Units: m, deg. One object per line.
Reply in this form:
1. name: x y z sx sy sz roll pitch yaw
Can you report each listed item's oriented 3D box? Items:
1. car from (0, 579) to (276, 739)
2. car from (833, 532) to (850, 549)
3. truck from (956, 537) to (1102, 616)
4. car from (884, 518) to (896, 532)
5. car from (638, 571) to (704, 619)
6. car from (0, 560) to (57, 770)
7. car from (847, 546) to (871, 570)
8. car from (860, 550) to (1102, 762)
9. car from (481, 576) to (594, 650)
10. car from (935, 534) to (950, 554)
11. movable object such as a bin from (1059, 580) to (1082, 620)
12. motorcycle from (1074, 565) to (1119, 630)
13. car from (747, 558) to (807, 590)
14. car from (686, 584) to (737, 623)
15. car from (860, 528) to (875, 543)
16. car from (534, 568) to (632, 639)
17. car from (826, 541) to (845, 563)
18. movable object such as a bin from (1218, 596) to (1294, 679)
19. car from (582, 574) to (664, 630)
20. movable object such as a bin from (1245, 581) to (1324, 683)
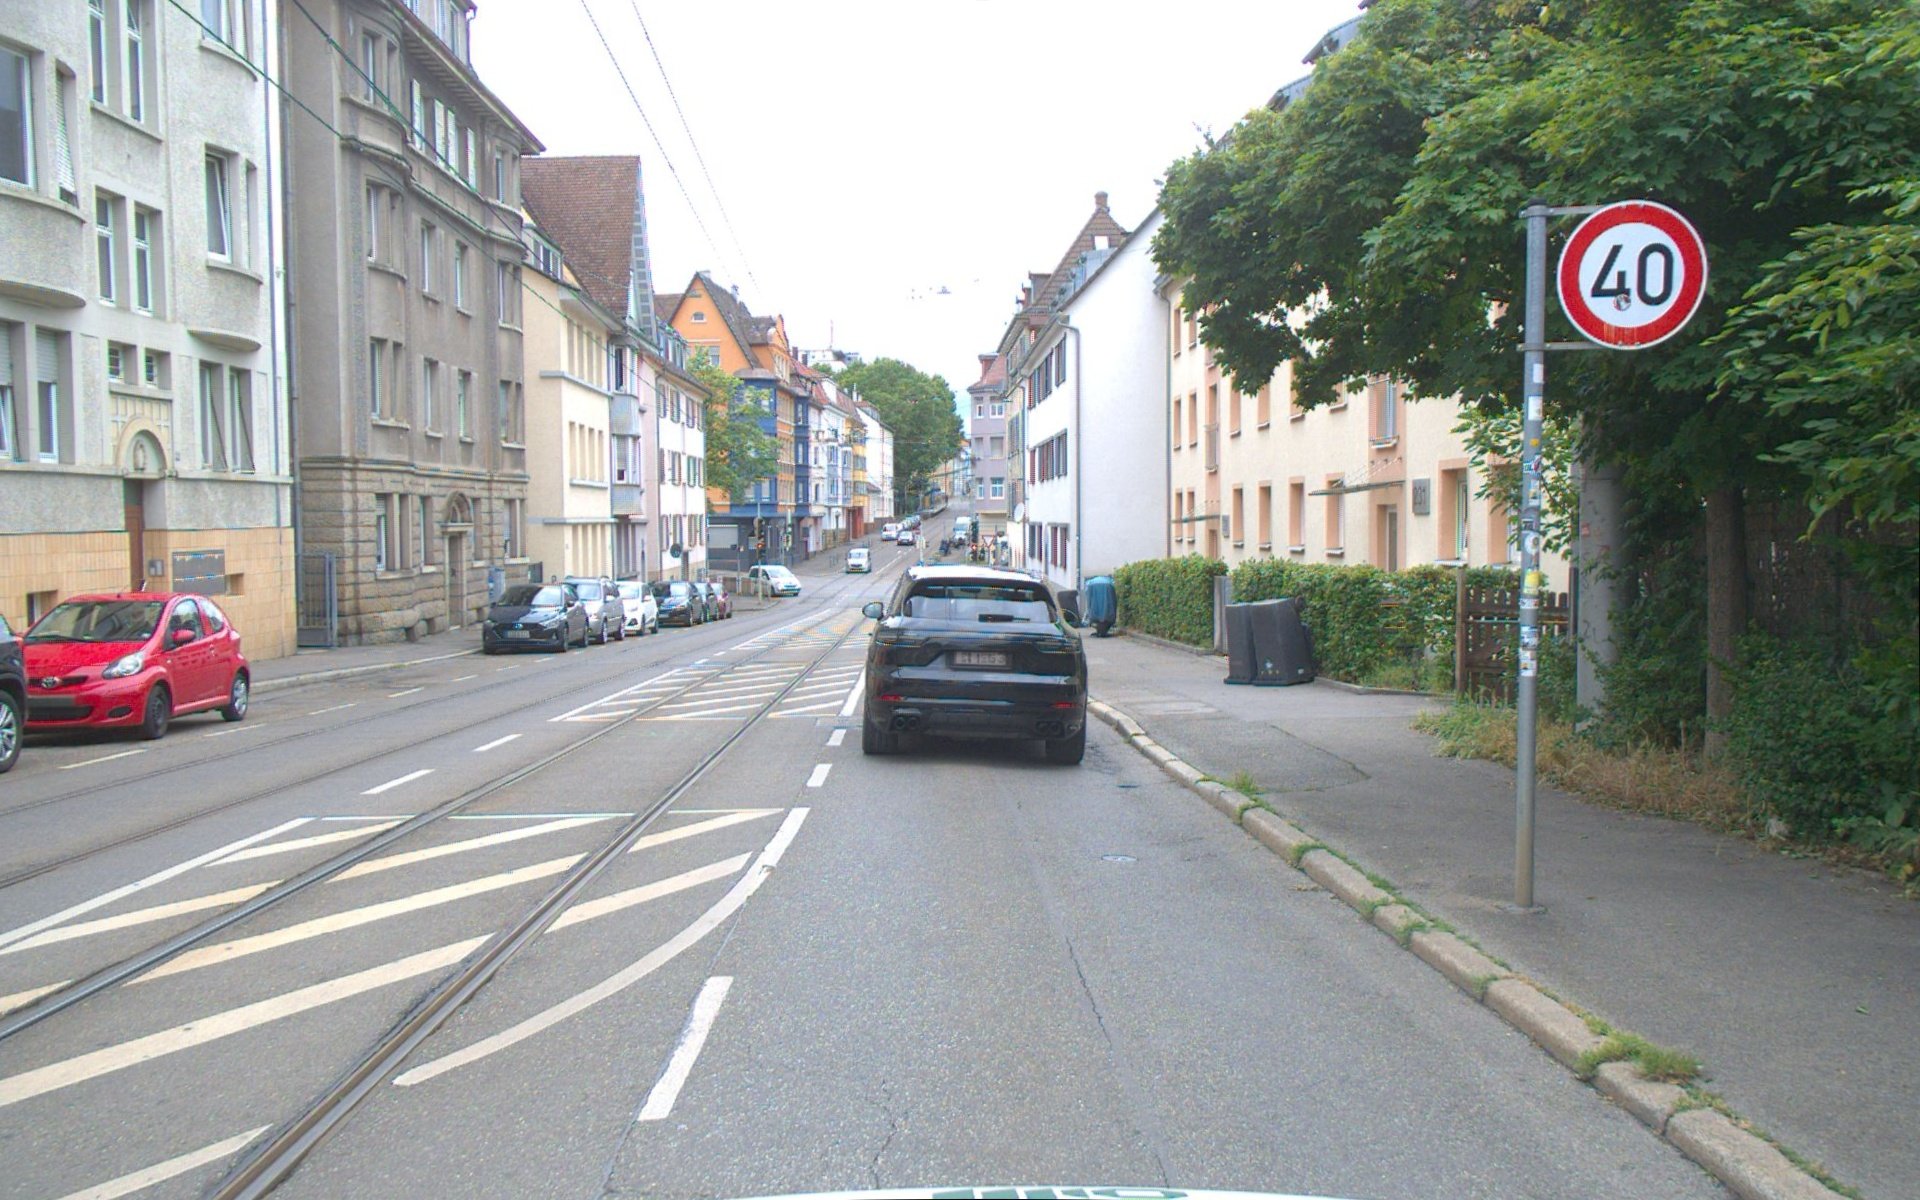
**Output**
1. car: -8.775 0.560 17.553 1.588 1.488 3.743 -1 0 -3
2. car: -10.929 -5.467 153.139 1.366 1.476 3.358 0 1 -1
3. truck: 3.841 -1.254 93.772 8.415 4.255 2.253 -1 -2 34
4. car: -8.086 -8.622 191.008 1.366 1.476 3.358 0 1 -1
5. car: -9.578 -0.163 55.124 1.588 1.499 4.553 -1 0 -3
6. car: -8.503 0.538 11.809 1.830 1.674 4.400 -1 0 -3
7. car: -8.039 -3.328 131.588 1.715 1.790 4.253 0 1 -1
8. car: 0.115 0.431 15.426 1.953 1.705 3.999 -1 1 -2
9. car: -9.188 0.261 36.238 1.588 1.488 4.031 -1 0 -3
10. car: -1.637 -5.183 153.890 1.366 1.752 3.358 0 1 -1
11. movable object such as a bin: 3.088 -0.009 46.293 0.576 1.098 0.692 0 0 0
12. motorcycle: 3.235 -0.079 39.374 0.821 1.482 2.552 0 1 -1
13. car: -10.929 -1.533 98.595 1.904 1.850 4.167 -1 1 -34
14. car: -10.040 0.142 67.023 1.588 1.516 4.045 -1 0 -3
15. car: -9.704 -6.781 174.007 1.366 1.476 3.358 0 1 -1
16. car: -9.267 0.085 40.943 1.588 1.632 4.348 -1 0 -3
17. car: -10.527 -4.047 140.305 1.366 1.752 3.358 0 1 -1
18. movable object such as a bin: 3.802 0.472 21.290 0.776 1.029 0.788 -1 0 -5
19. car: -9.514 0.062 46.891 1.588 1.488 3.684 -1 0 -1
20. movable object such as a bin: 4.021 0.385 20.549 0.776 1.239 0.788 -1 0 -5
